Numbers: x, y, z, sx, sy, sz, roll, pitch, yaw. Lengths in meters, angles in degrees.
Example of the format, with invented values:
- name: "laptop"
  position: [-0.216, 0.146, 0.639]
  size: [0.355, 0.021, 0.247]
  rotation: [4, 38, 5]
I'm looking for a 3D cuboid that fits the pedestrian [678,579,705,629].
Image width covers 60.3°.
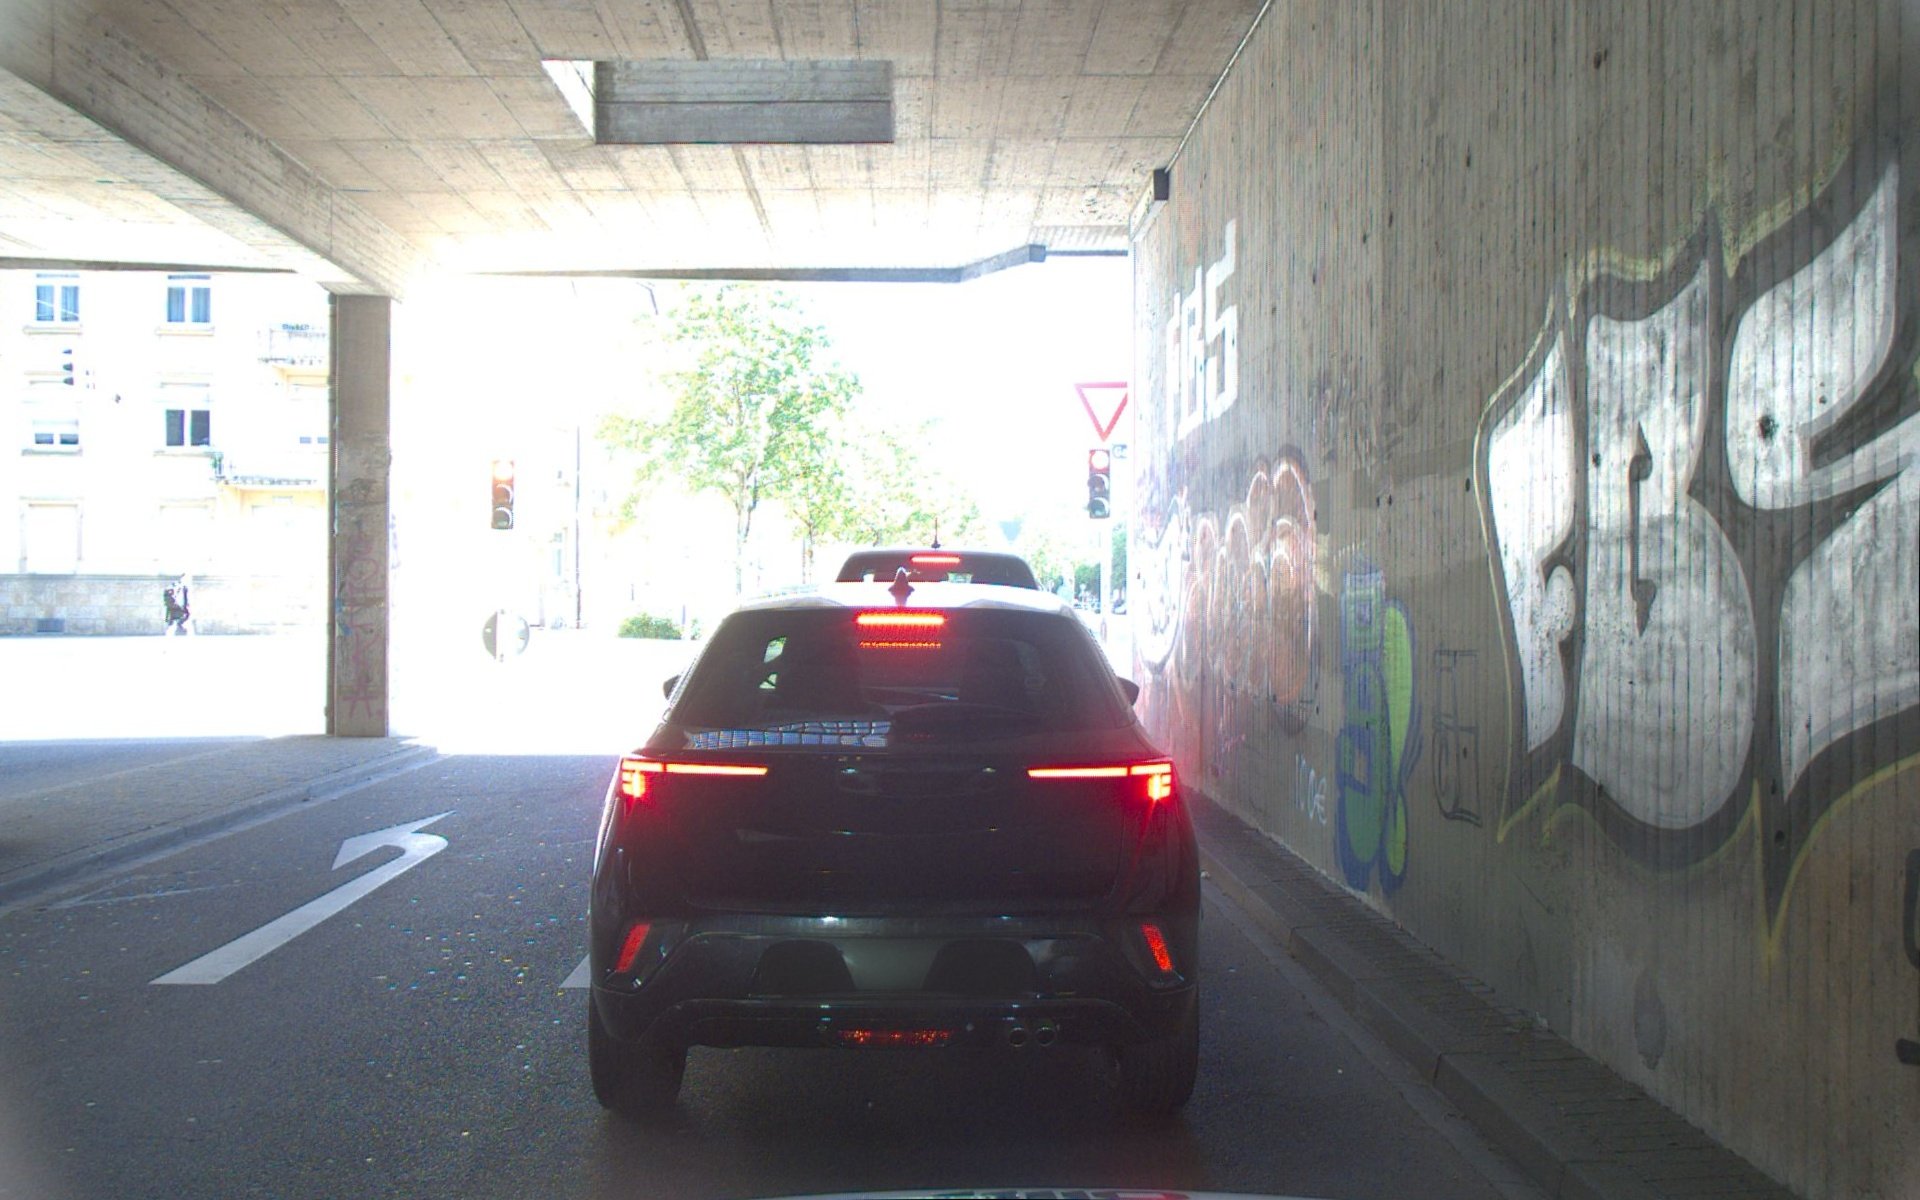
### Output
- name: "pedestrian"
  position: [-11.326, 0.169, 69.773]
  size: [0.873, 2.124, 0.808]
  rotation: [1, -1, 7]

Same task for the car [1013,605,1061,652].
- name: "car"
  position: [3.438, 1.249, 73.265]
  size: [1.951, 2.004, 4.166]
  rotation: [1, 0, 4]

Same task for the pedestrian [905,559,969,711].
- name: "pedestrian"
  position: [-0.278, 0.413, 19.760]
  size: [0.716, 1.764, 0.874]
  rotation: [1, -1, -1]

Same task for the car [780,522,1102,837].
- name: "car"
  position: [-0.144, 0.471, 12.069]
  size: [1.953, 1.904, 3.999]
  rotation: [0, 0, -1]

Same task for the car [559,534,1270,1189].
- name: "car"
  position: [-0.138, 0.605, 6.081]
  size: [1.729, 1.598, 4.000]
  rotation: [1, 1, -1]

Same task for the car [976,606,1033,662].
- name: "car"
  position: [1.728, 1.251, 62.738]
  size: [1.951, 2.004, 4.166]
  rotation: [1, 0, 4]

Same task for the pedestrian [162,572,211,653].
- name: "pedestrian"
  position: [-16.061, 0.257, 34.355]
  size: [0.658, 1.666, 0.740]
  rotation: [1, -1, -1]
